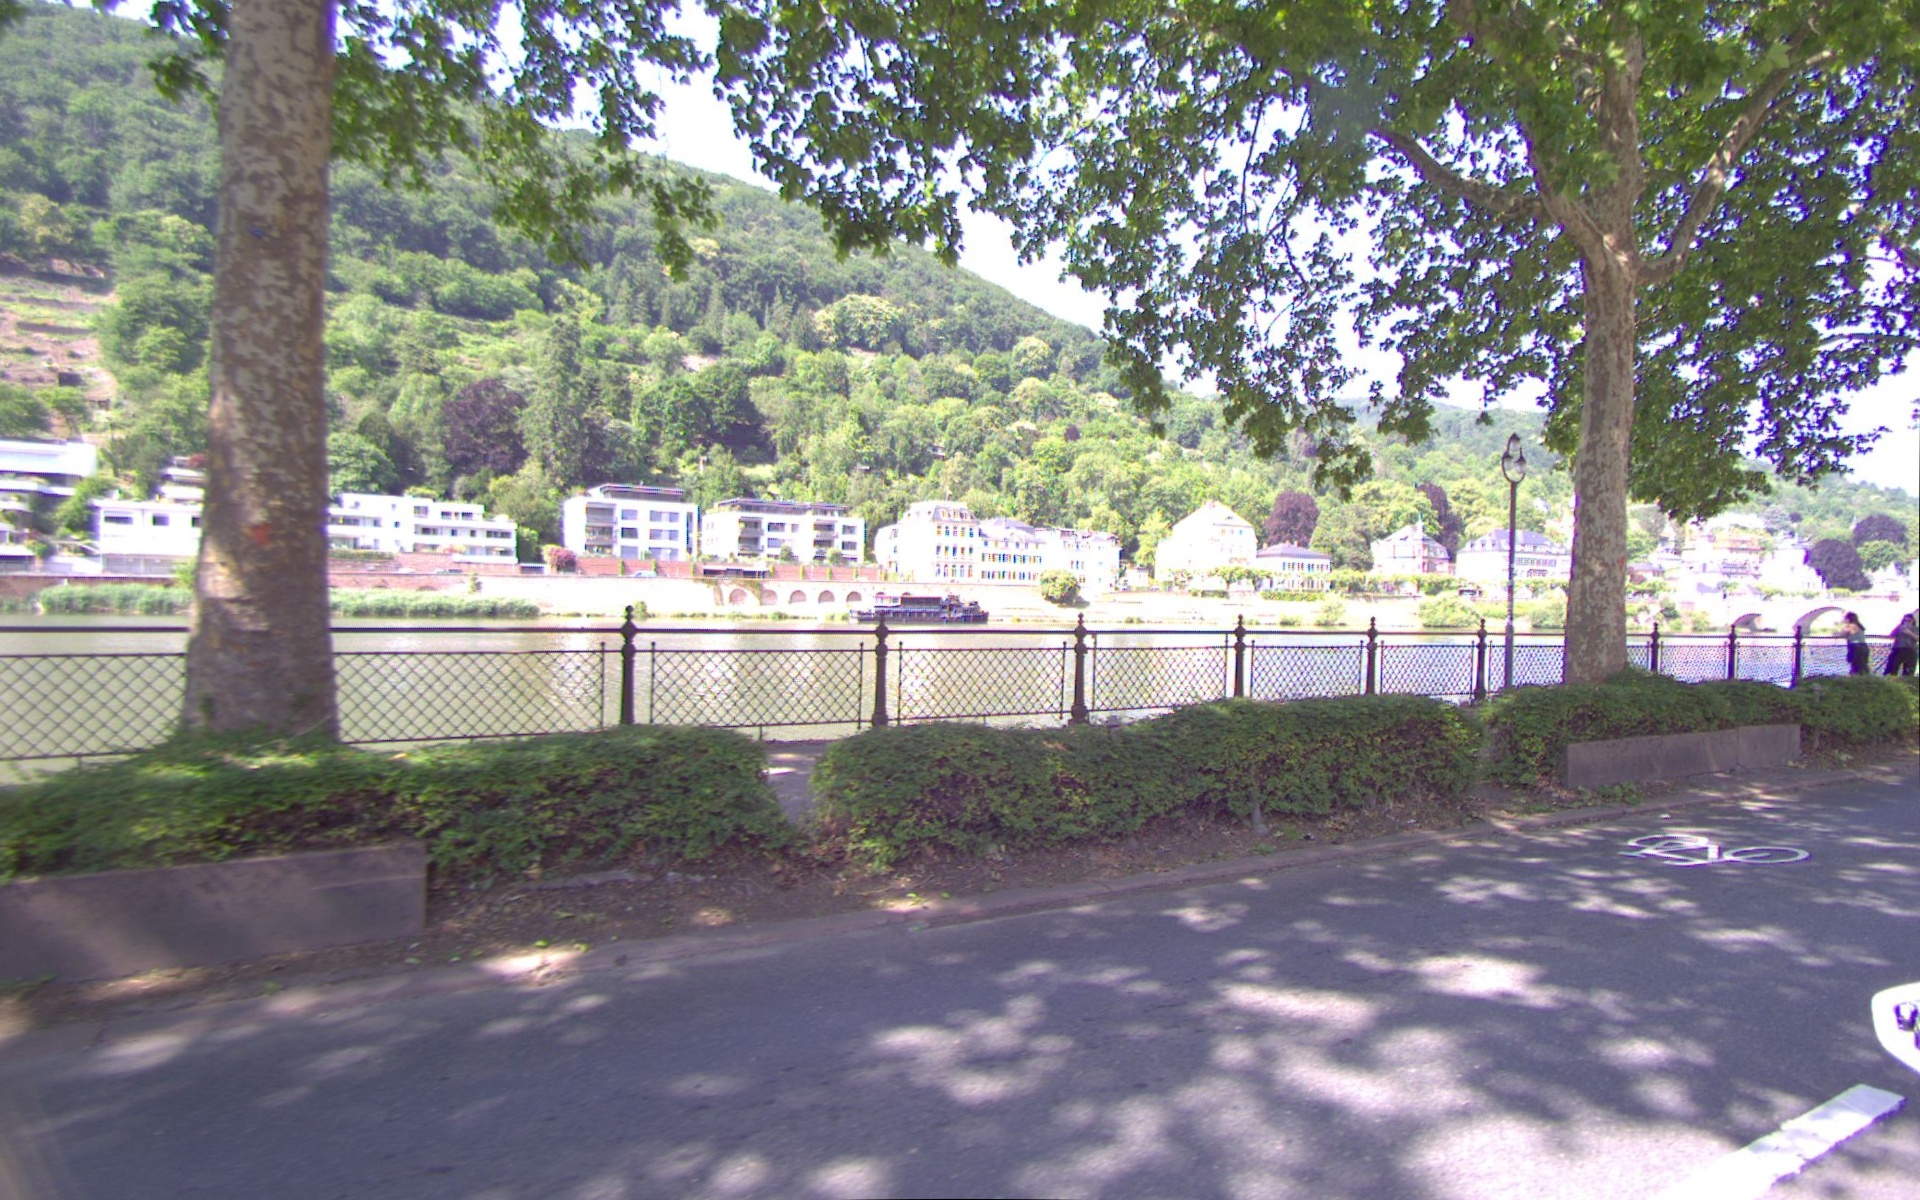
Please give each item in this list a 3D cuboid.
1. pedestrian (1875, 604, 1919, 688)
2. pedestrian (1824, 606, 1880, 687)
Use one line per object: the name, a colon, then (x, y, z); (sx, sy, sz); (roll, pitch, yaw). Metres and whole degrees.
pedestrian: (20.035, 0.962, 21.351); (0.688, 1.723, 0.616); (1, 1, -30)
pedestrian: (18.686, 0.974, 21.045); (0.900, 1.630, 0.546); (1, 3, -30)
